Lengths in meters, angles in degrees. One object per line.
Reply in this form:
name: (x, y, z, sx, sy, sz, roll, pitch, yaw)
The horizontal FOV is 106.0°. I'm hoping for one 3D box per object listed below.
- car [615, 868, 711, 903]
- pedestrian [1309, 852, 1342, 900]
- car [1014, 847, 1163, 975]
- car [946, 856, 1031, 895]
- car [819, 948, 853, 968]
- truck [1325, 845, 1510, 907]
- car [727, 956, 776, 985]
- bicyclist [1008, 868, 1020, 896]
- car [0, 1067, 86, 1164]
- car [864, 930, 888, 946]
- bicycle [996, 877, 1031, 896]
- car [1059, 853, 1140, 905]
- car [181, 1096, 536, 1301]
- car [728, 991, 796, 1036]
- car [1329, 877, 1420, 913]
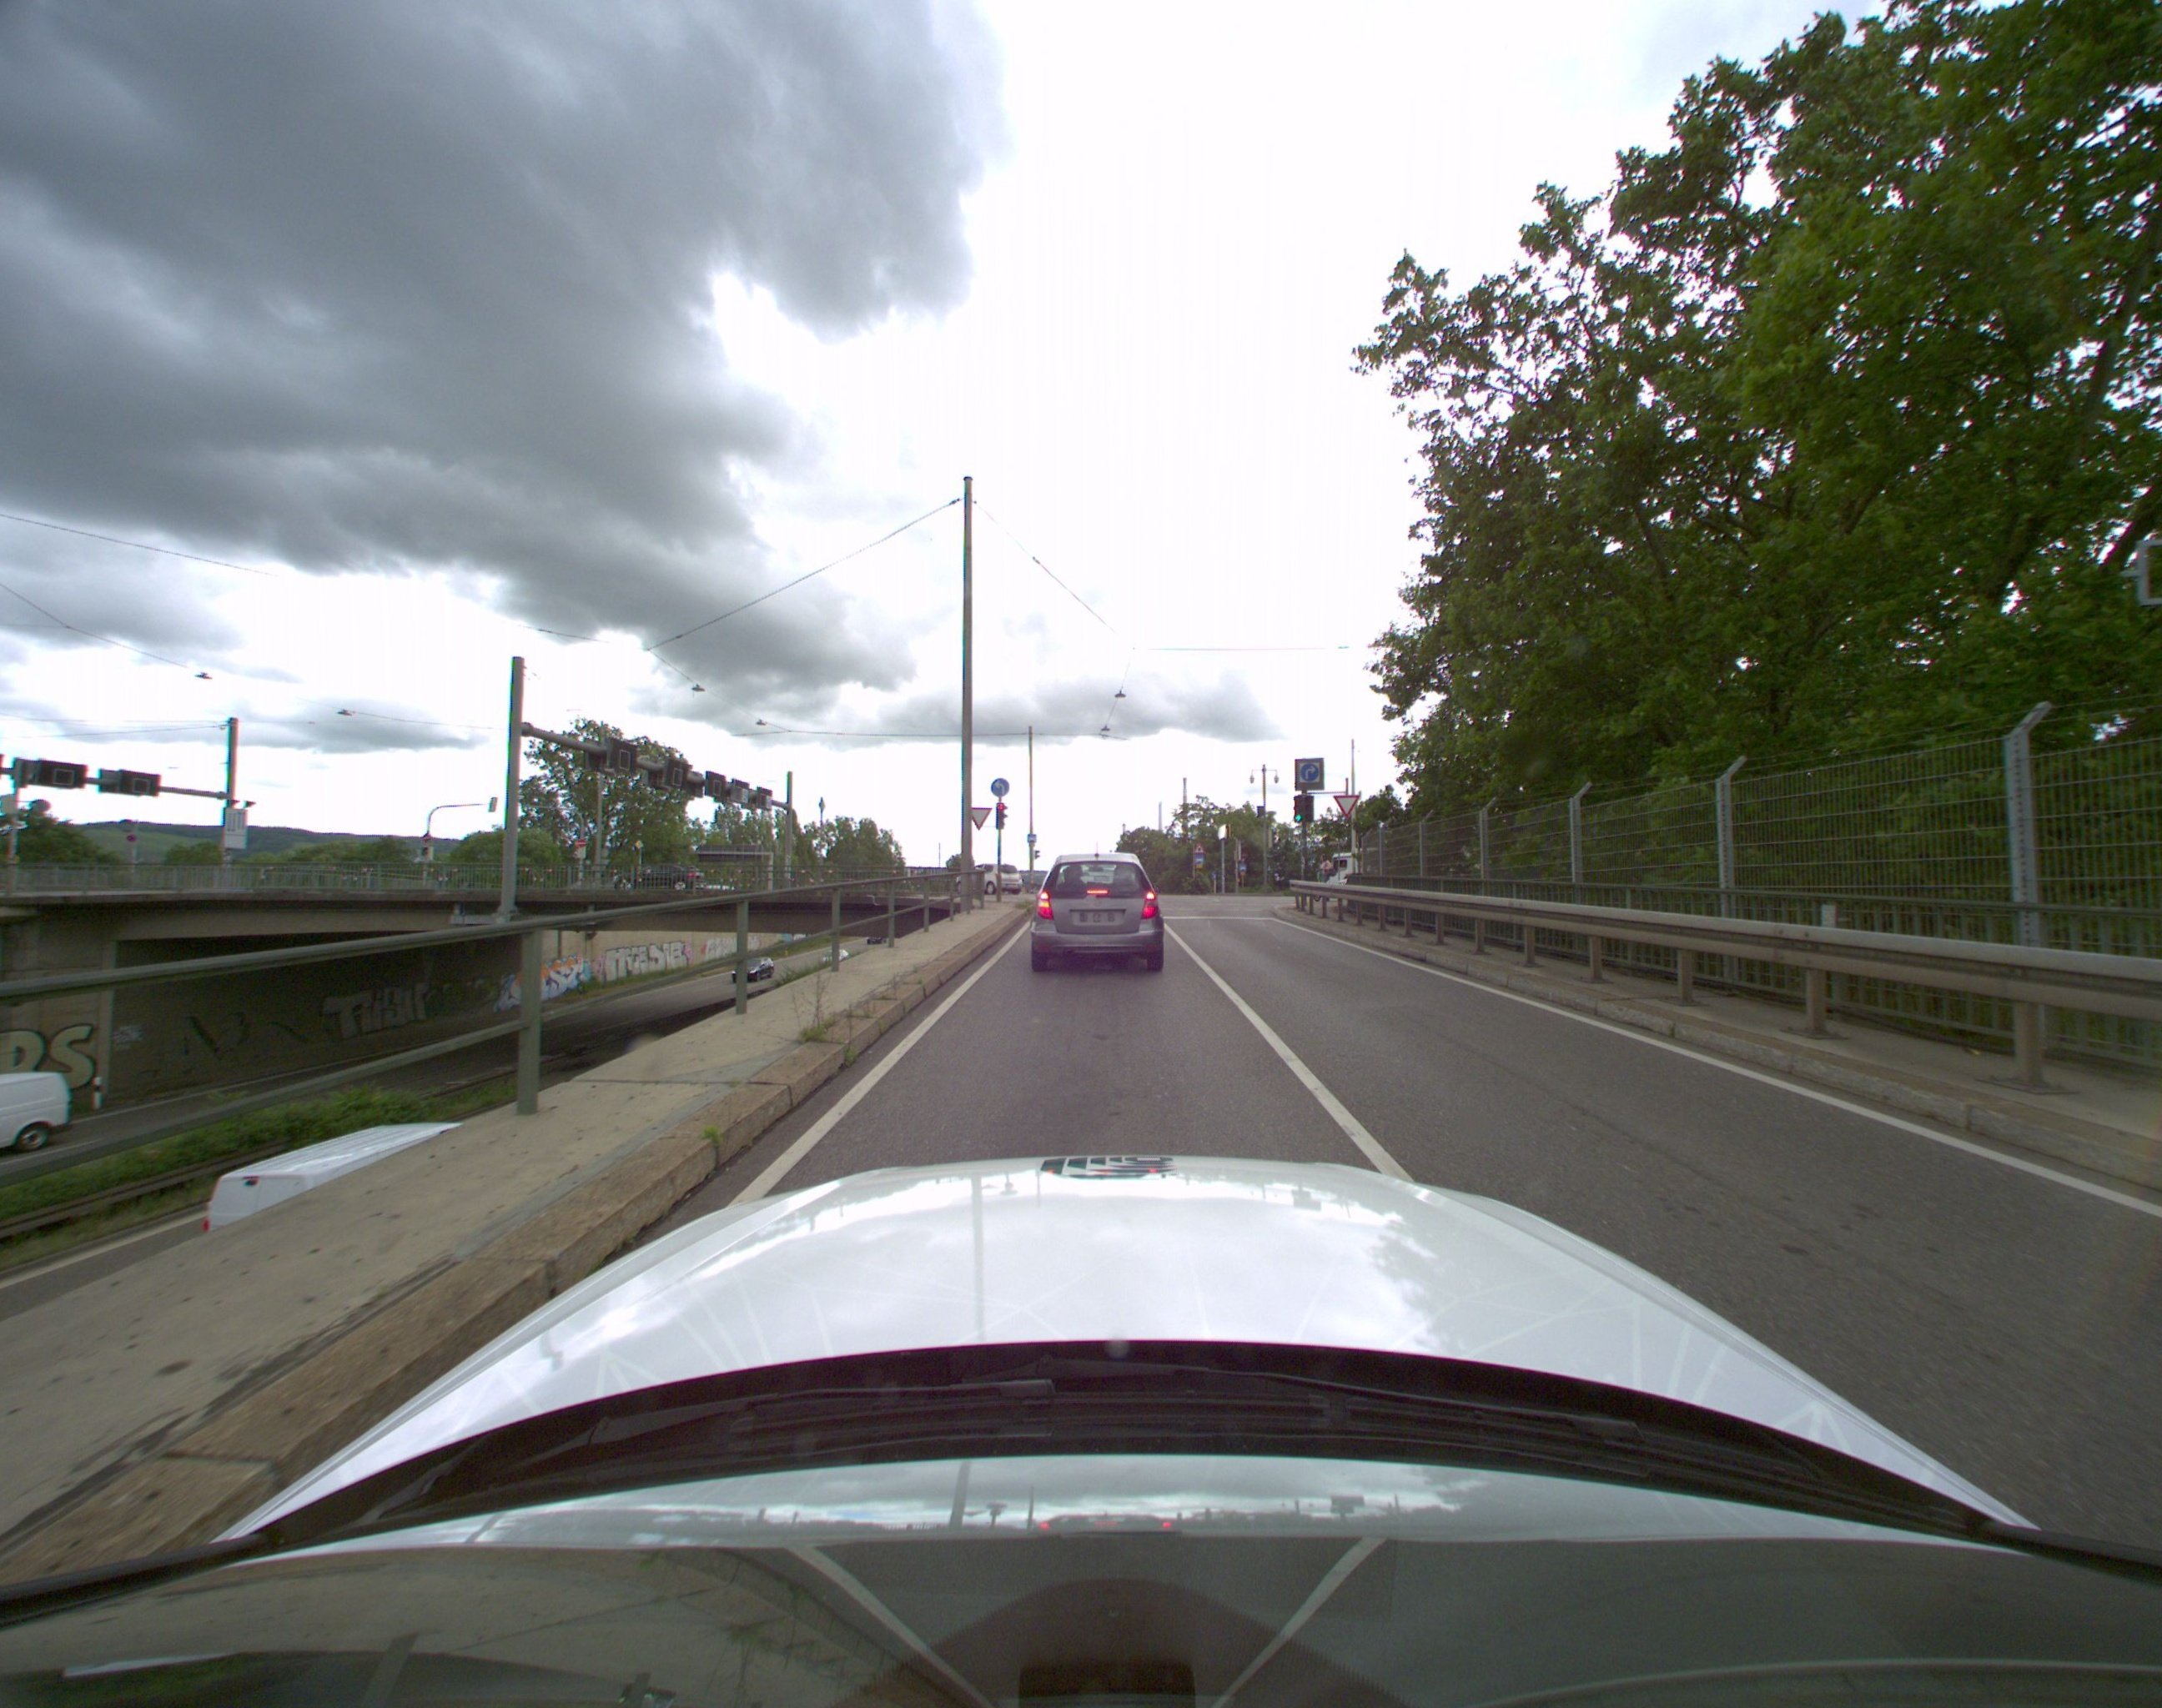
car: (-21.763, 1.637, 42.522, 3.975, 1.717, 1.937, -1, 0, -1)
pedestrian: (8.781, 0.799, 29.314, 0.830, 1.678, 0.978, -1, -3, -2)
car: (0.219, 0.710, 12.213, 1.850, 1.588, 4.004, -1, 0, 3)
car: (-4.415, 0.993, 38.390, 1.949, 1.717, 3.951, -1, 0, -44)
car: (-22.174, 9.401, 73.931, 1.722, 1.528, 4.087, -1, -3, 1)
truck: (20.414, 1.285, 49.721, 10.117, 3.518, 2.816, -1, 0, 29)
car: (-25.367, 8.965, 62.810, 1.909, 1.739, 4.551, -2, -3, 0)
bicyclist: (-4.169, 1.730, 50.335, 0.653, 1.673, 0.867, -1, 0, -9)
car: (-28.244, 6.761, 19.670, 1.988, 2.067, 5.174, -1, -3, -1)
car: (-27.114, 11.081, 108.000, 1.924, 1.842, 4.410, -1, -3, 1)
bicycle: (-4.177, 2.016, 50.320, 2.032, 1.124, 0.926, -1, 0, -10)
car: (0.595, 0.859, 29.923, 1.933, 1.717, 4.385, -1, 0, -13)
car: (-12.703, 6.001, 14.928, 1.942, 1.935, 4.896, -1, -4, 2)
car: (-14.918, 7.441, 38.269, 1.550, 1.553, 3.684, -1, -3, 3)
car: (14.780, 2.052, 41.159, 3.969, 1.665, 1.815, -1, 0, 3)
